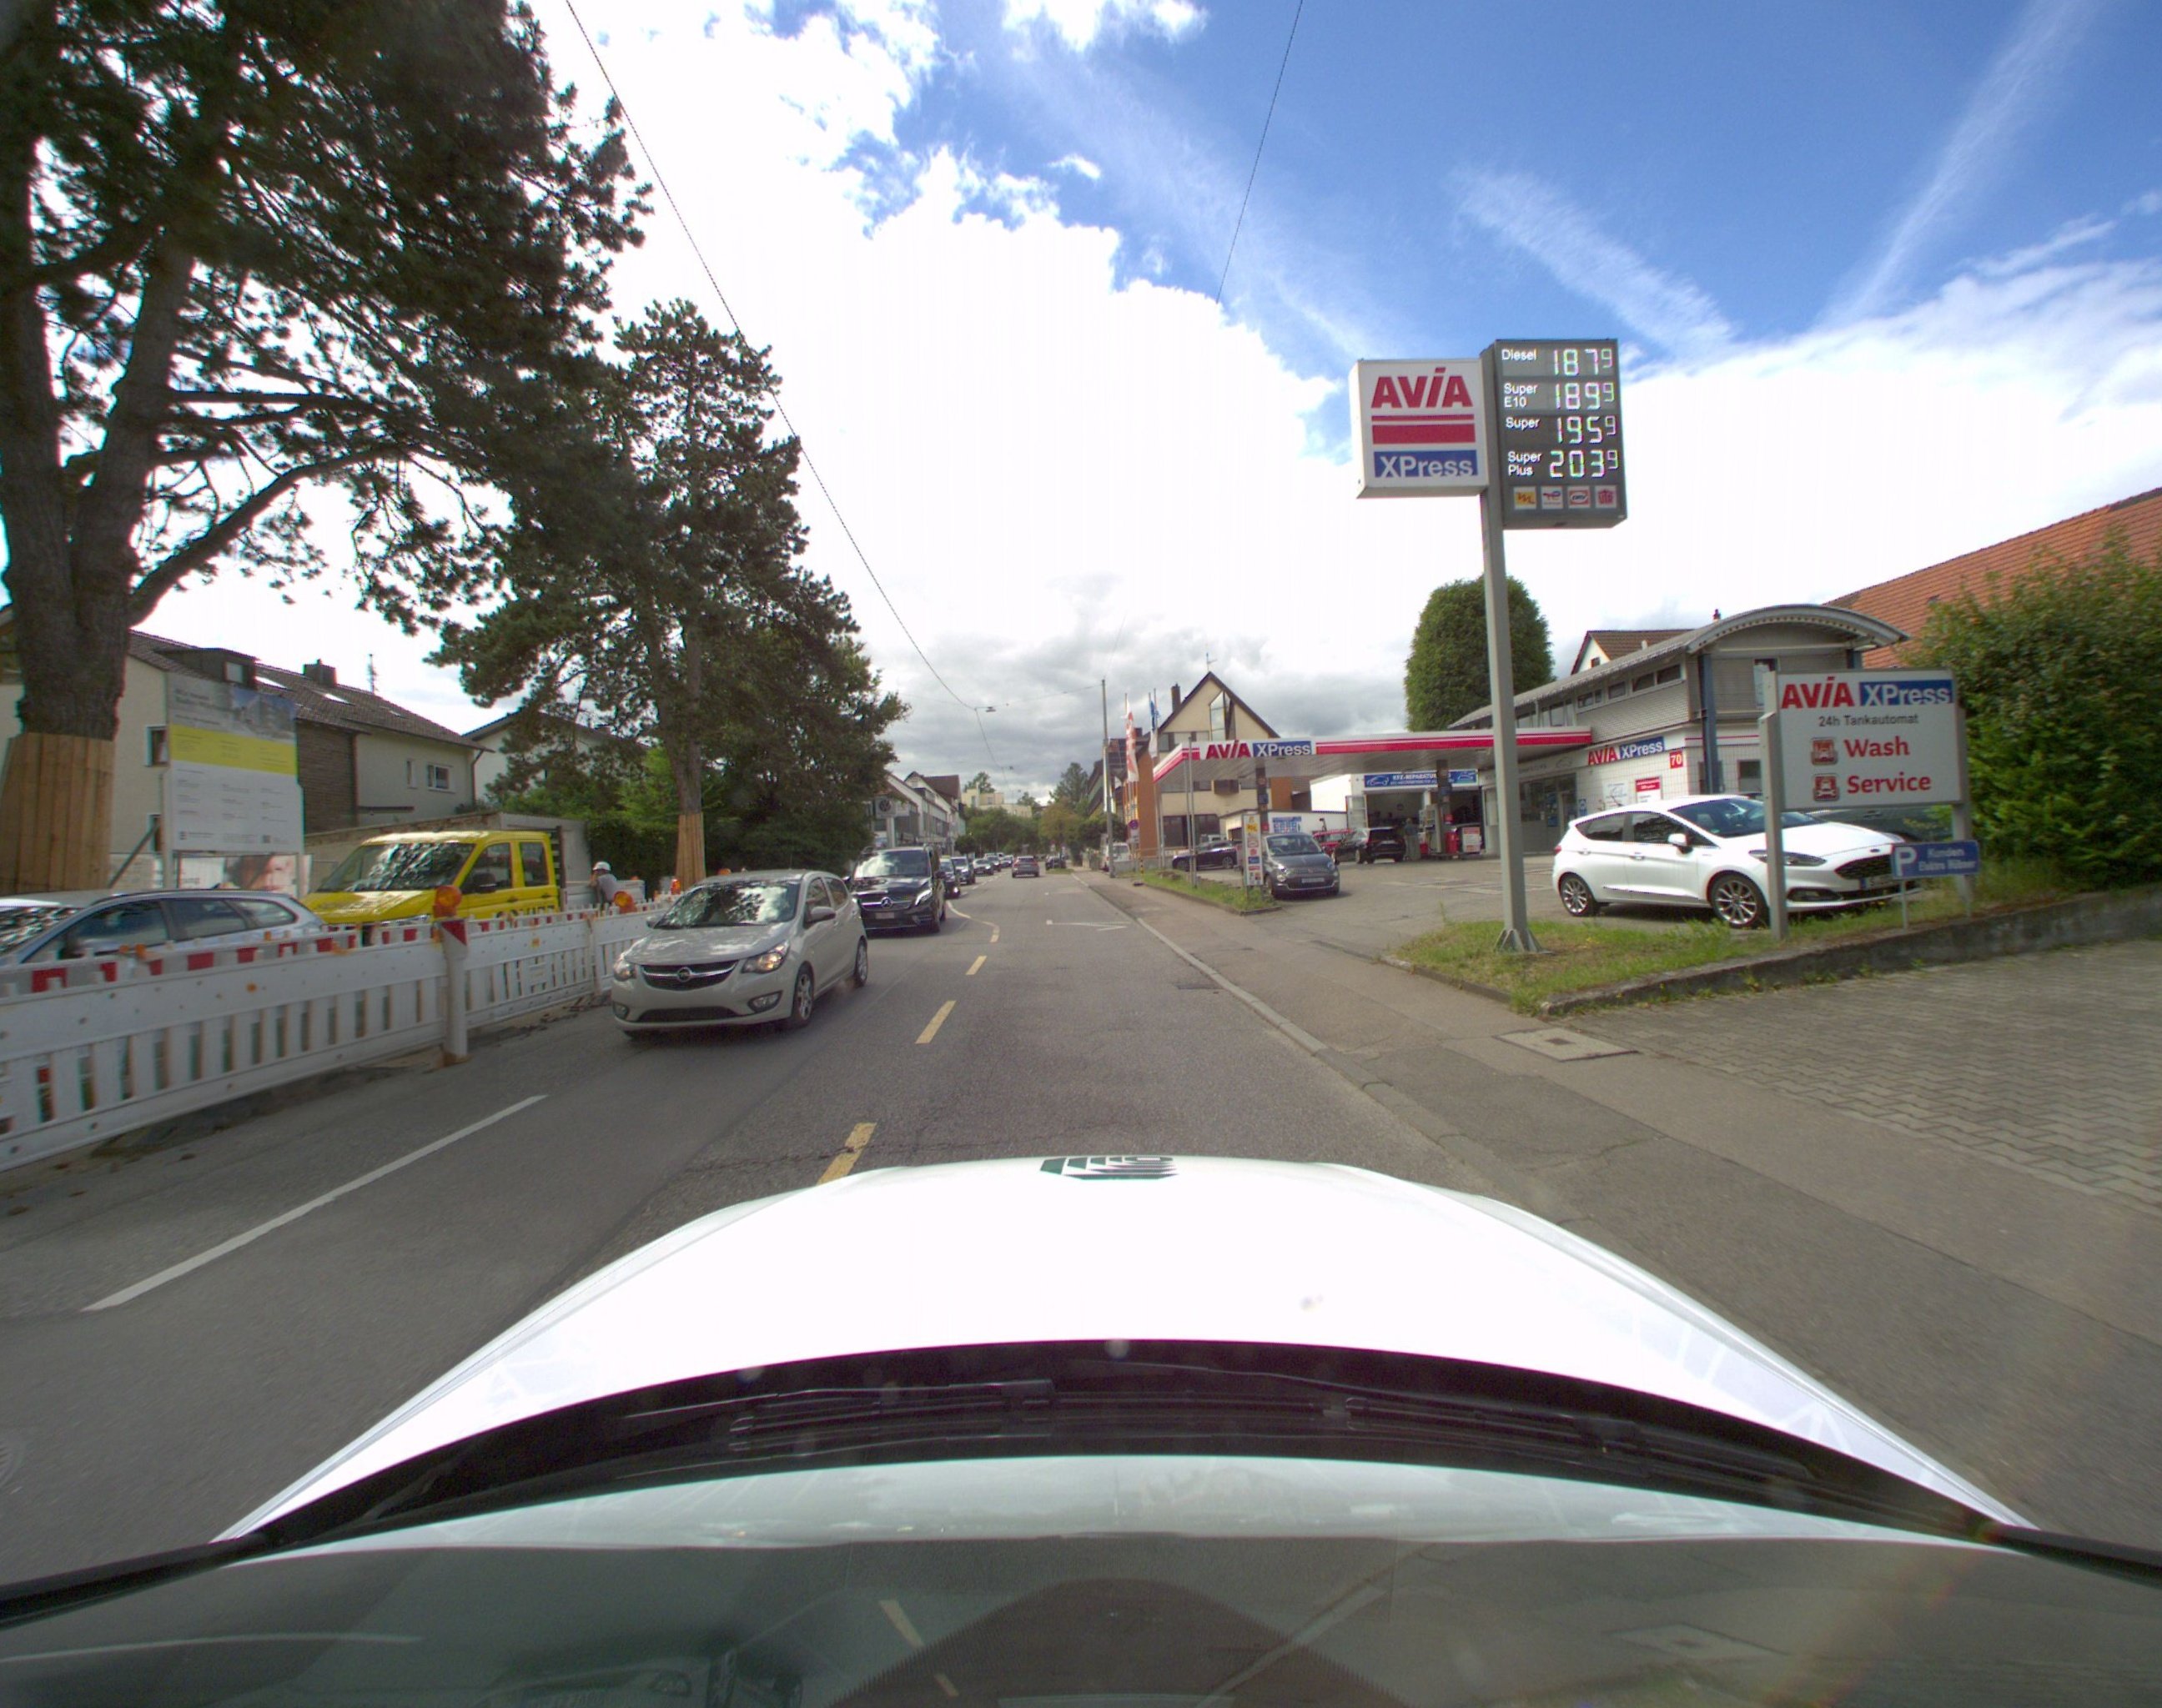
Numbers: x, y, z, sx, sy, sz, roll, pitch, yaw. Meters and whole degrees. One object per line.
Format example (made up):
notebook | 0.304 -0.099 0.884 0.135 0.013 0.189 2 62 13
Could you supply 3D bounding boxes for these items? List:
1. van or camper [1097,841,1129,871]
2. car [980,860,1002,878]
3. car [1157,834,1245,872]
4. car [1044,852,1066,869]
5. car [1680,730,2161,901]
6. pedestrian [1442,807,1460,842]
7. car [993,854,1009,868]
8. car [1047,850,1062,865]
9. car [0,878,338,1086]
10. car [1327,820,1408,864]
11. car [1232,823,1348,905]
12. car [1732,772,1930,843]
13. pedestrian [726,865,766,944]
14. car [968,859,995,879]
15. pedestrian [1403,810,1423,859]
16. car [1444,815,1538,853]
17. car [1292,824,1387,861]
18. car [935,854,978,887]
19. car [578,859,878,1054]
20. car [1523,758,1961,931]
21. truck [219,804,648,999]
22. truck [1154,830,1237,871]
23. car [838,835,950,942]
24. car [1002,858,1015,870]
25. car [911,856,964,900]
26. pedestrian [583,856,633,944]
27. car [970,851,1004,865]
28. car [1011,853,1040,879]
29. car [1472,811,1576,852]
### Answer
van or camper | 2.289 0.170 59.351 1.863 2.032 4.541 -2 -1 -4
car | -8.861 1.441 80.633 1.827 1.630 4.315 -3 0 -3
car | 6.456 -0.026 44.098 4.263 1.630 1.646 -6 1 32
car | -2.555 0.663 79.188 1.980 1.448 4.746 -3 -1 -3
car | 10.248 -0.372 10.179 1.709 1.542 4.648 -7 -1 -5
pedestrian | 20.225 -1.617 44.480 0.666 1.845 0.689 -3 -2 43
car | -9.655 0.897 98.373 1.828 1.523 4.162 -3 -1 -5
car | -3.203 0.468 98.428 1.685 1.666 4.460 -3 -1 -1
car | -9.253 1.040 7.619 1.622 1.508 3.573 -1 0 -8
car | 11.816 -0.435 33.894 1.625 1.608 4.568 -2 -1 -1
car | 5.028 0.233 20.160 1.610 1.595 4.159 -9 0 0
car | 20.137 -1.220 21.981 3.731 1.460 1.620 -5 -3 -1
pedestrian | -7.009 1.051 17.044 0.564 1.601 0.540 -3 -2 41
car | -8.156 1.205 67.257 1.736 1.429 4.520 -4 0 -2
pedestrian | 13.299 -0.783 32.640 0.579 1.935 0.544 -2 -1 34
car | 19.972 -0.998 39.771 3.732 1.440 1.621 -5 4 -1
car | 13.430 -0.569 42.430 4.558 1.717 1.833 -2 -1 17
car | -7.163 0.916 47.218 1.861 1.617 4.532 -4 1 -2
car | -3.368 0.863 8.534 1.610 1.523 3.566 -3 -1 -2
car | 7.661 -0.062 10.105 1.632 1.528 4.195 -7 -1 -6
truck | -9.891 0.643 13.449 2.300 2.420 6.089 -2 -1 -2
truck | 7.592 -0.272 54.228 5.076 2.457 2.355 -2 1 -4
car | -4.009 0.657 18.219 1.907 1.951 4.900 -3 0 -8
car | -10.493 1.444 118.005 1.686 1.579 3.794 -3 -1 -4
car | -5.740 0.924 32.609 1.866 1.527 4.512 -3 0 -10
pedestrian | -8.690 0.831 14.989 0.573 1.547 0.653 -1 -1 -8
car | -16.292 0.661 141.376 5.174 1.993 2.117 -5 0 14
car | -3.943 0.892 57.589 1.953 1.523 4.320 -2 -3 -5
car | 20.083 -1.004 36.993 3.736 1.460 1.712 -5 -3 -4
